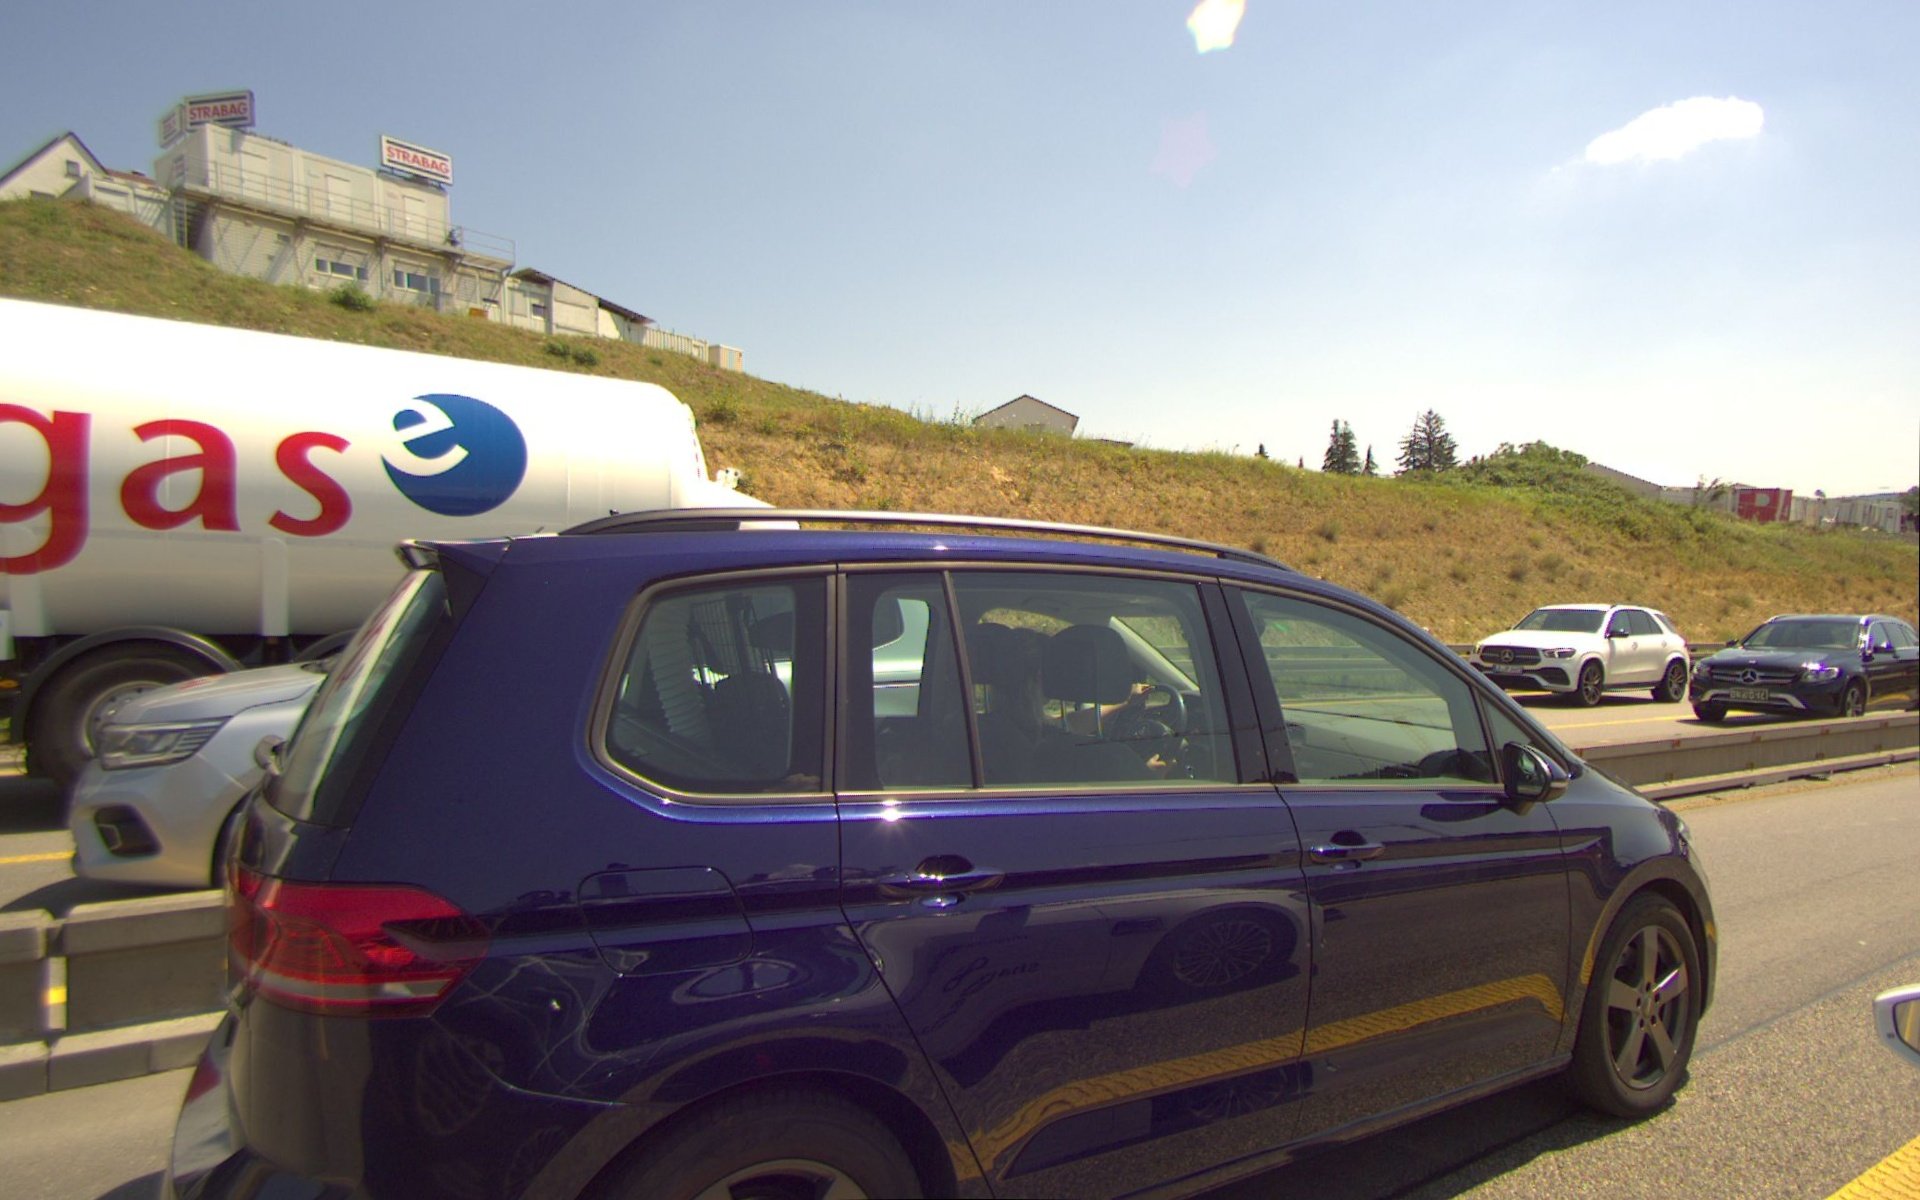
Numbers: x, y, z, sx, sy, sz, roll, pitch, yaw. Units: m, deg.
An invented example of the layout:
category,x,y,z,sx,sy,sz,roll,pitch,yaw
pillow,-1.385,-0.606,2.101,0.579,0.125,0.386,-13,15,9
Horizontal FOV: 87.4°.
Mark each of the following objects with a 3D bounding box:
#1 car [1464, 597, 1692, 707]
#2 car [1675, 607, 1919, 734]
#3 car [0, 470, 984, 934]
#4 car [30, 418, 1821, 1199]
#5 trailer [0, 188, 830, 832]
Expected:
category,x,y,z,sx,sy,sz,roll,pitch,yaw
car,11.367,0.879,18.398,4.487,1.786,1.781,1,0,-32
car,12.980,0.961,15.176,4.678,1.633,1.782,1,0,-31
car,-2.222,0.424,5.776,4.430,1.768,1.870,1,-1,-31
car,0.546,0.659,3.025,4.598,1.741,1.767,0,1,-31
trailer,-6.838,-0.553,6.850,11.782,3.853,2.576,1,1,-32
